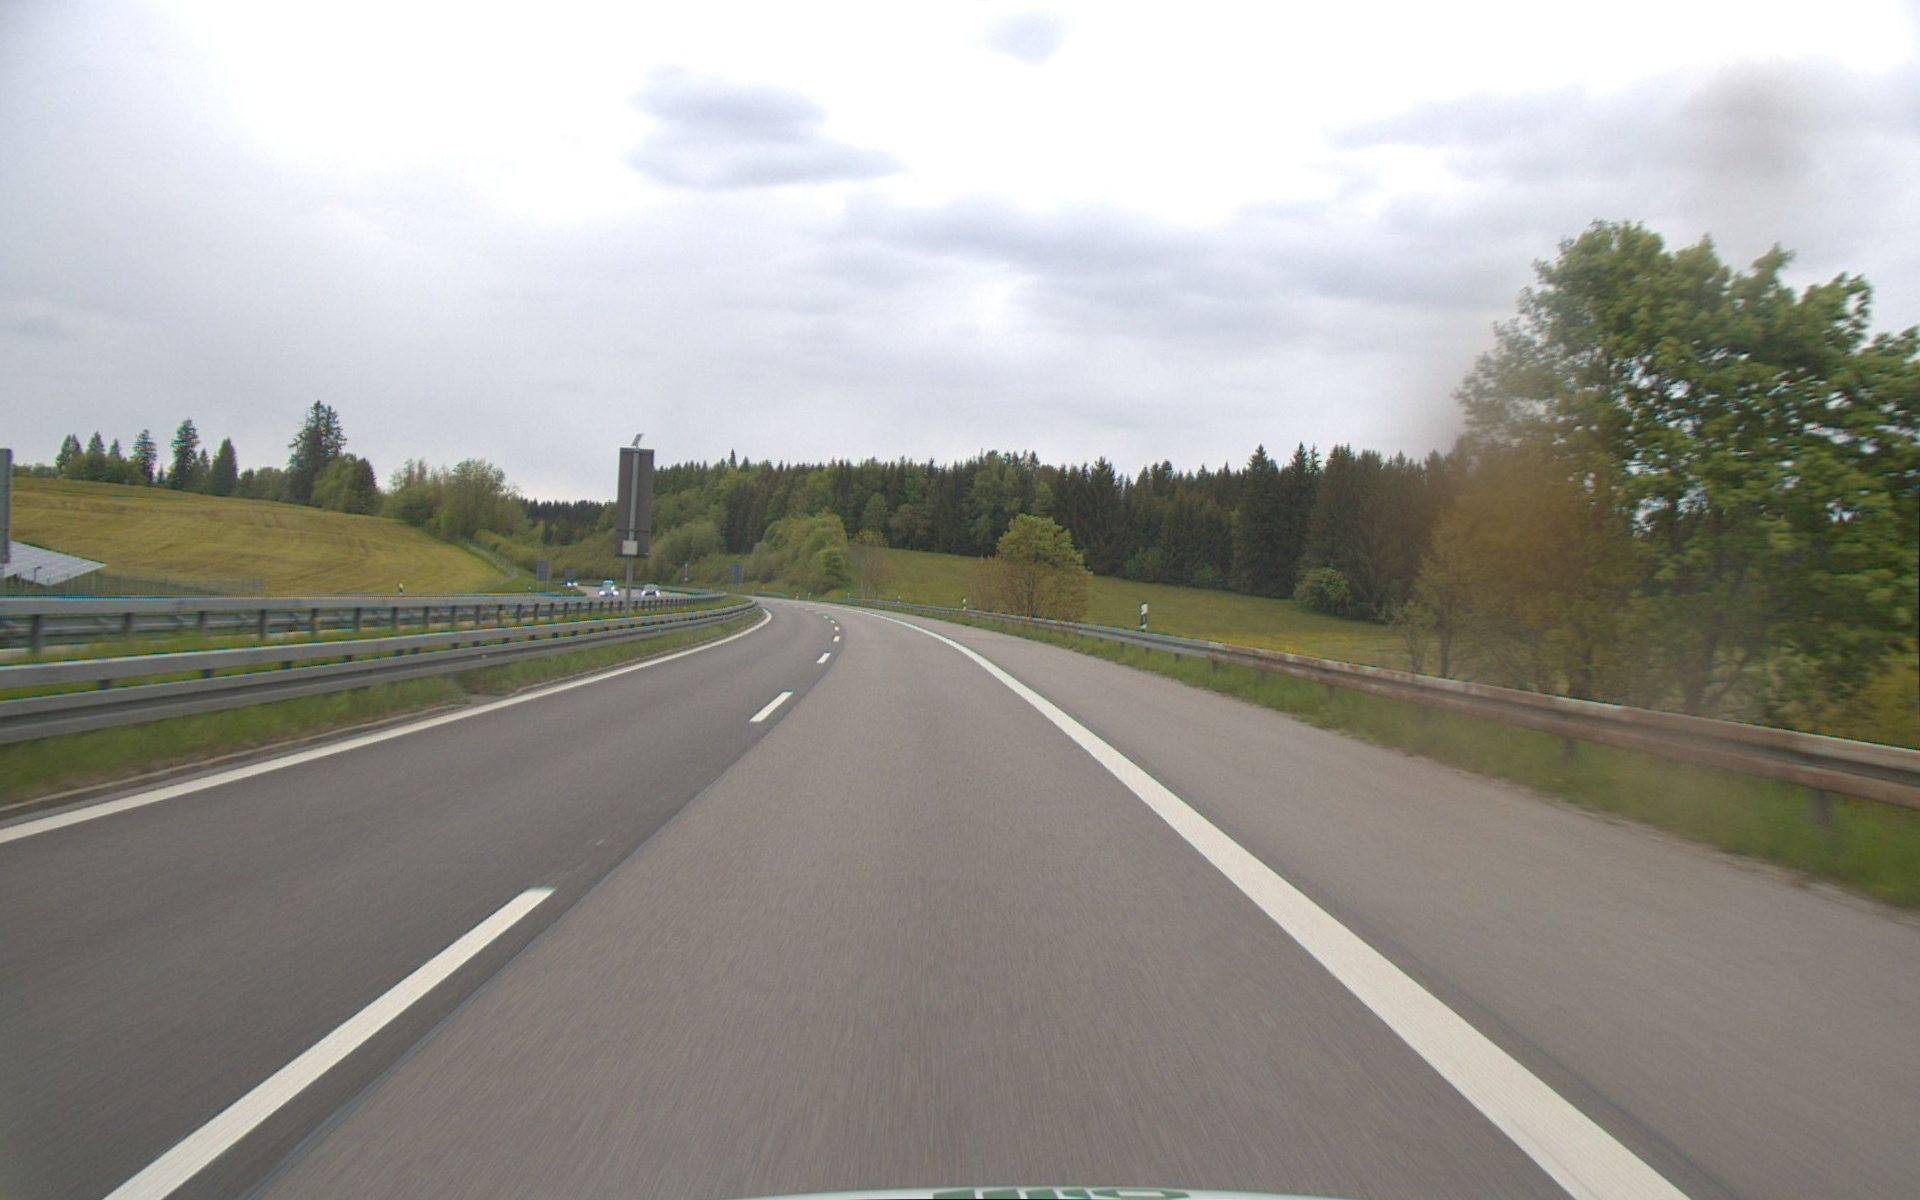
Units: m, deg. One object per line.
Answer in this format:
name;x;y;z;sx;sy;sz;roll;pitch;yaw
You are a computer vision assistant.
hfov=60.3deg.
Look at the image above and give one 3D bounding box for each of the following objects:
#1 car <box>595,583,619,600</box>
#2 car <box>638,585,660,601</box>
car;-35.115;-0.867;164.530;1.957;1.465;4.989;4;0;-9
car;-31.046;-0.719;164.989;1.957;1.442;3.992;4;0;-9
